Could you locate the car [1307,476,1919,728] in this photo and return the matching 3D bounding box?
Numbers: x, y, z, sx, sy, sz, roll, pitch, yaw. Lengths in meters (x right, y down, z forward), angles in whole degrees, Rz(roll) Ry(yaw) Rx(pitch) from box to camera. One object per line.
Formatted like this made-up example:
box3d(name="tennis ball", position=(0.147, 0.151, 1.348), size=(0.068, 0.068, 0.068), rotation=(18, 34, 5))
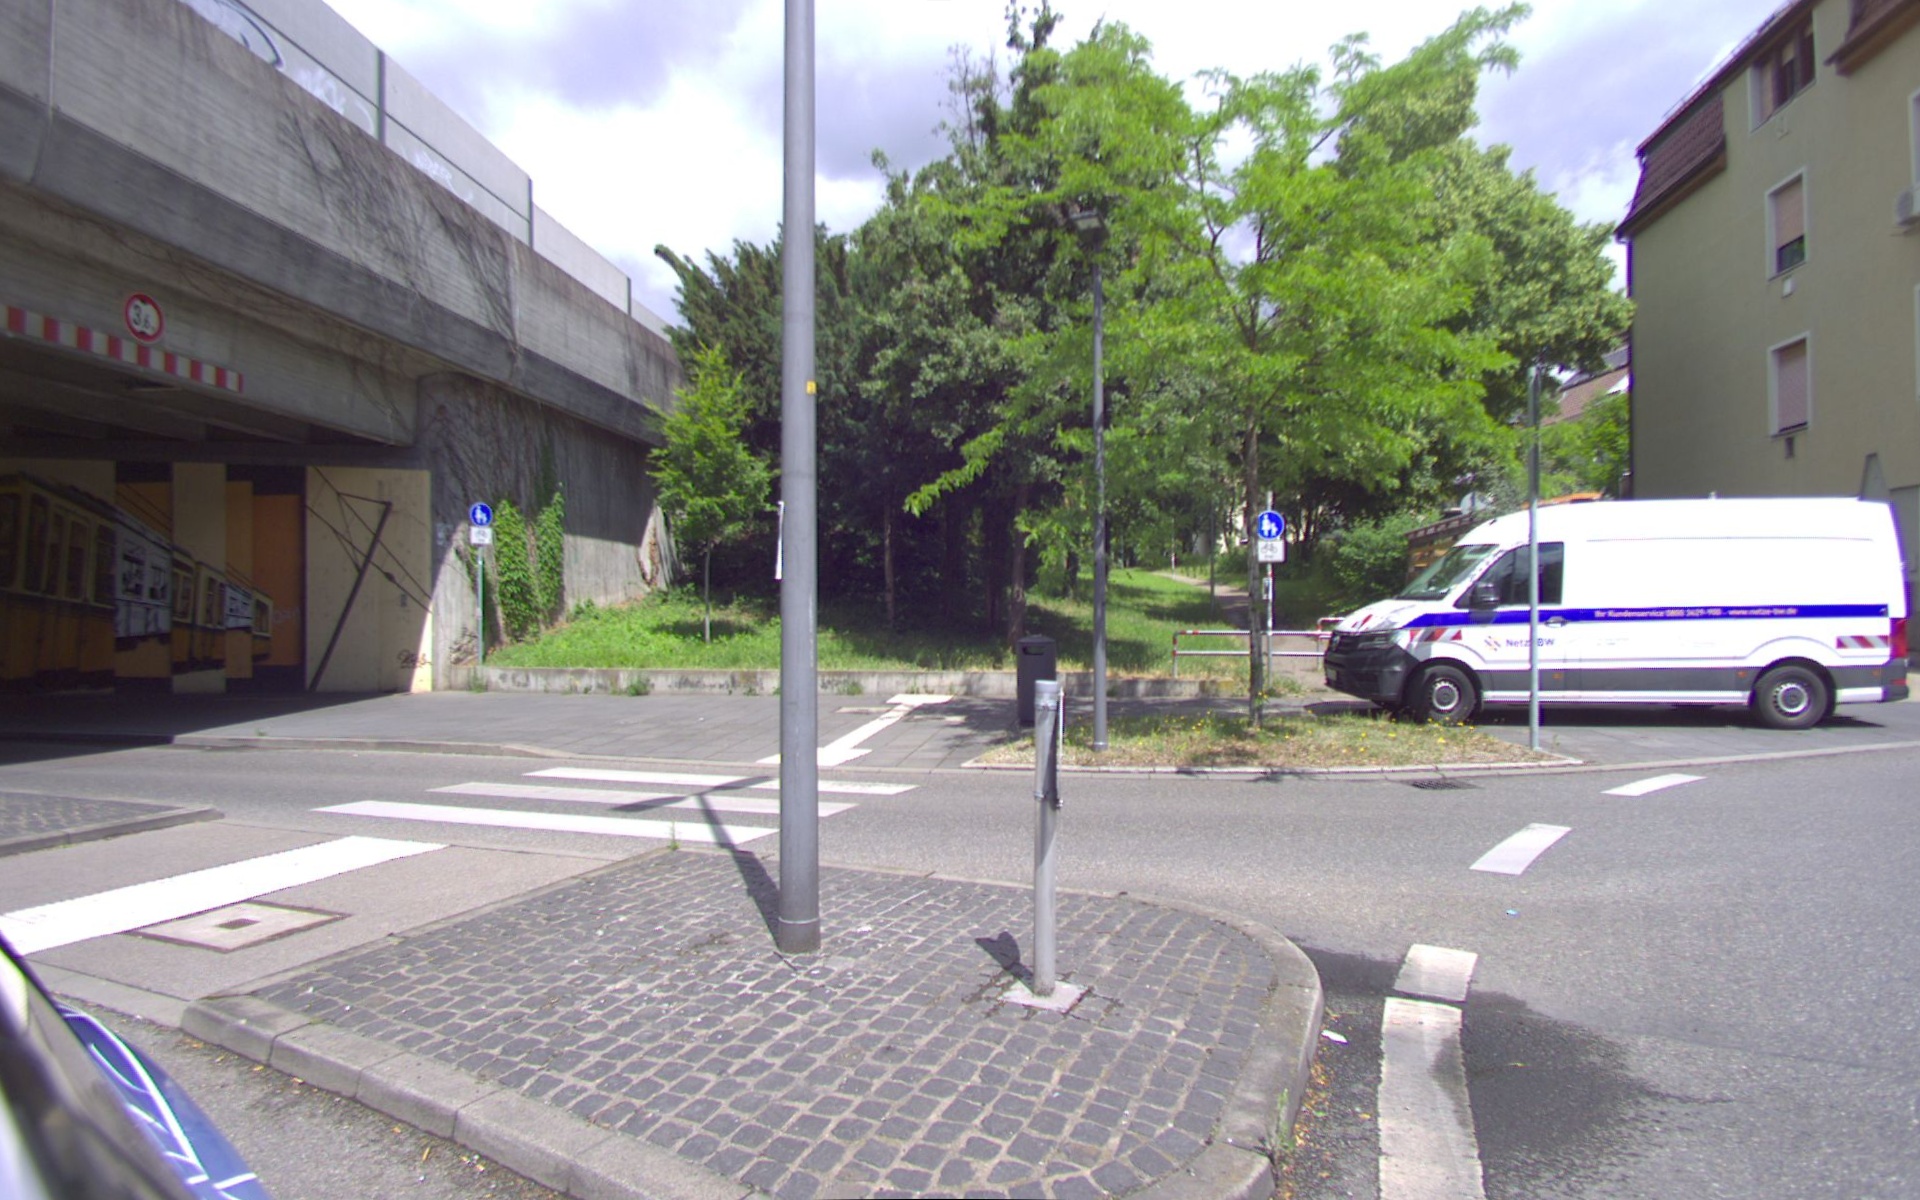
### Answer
box3d(name="car", position=(7.356, 0.042, 11.897), size=(5.859, 2.626, 1.970), rotation=(-1, 1, 7))
